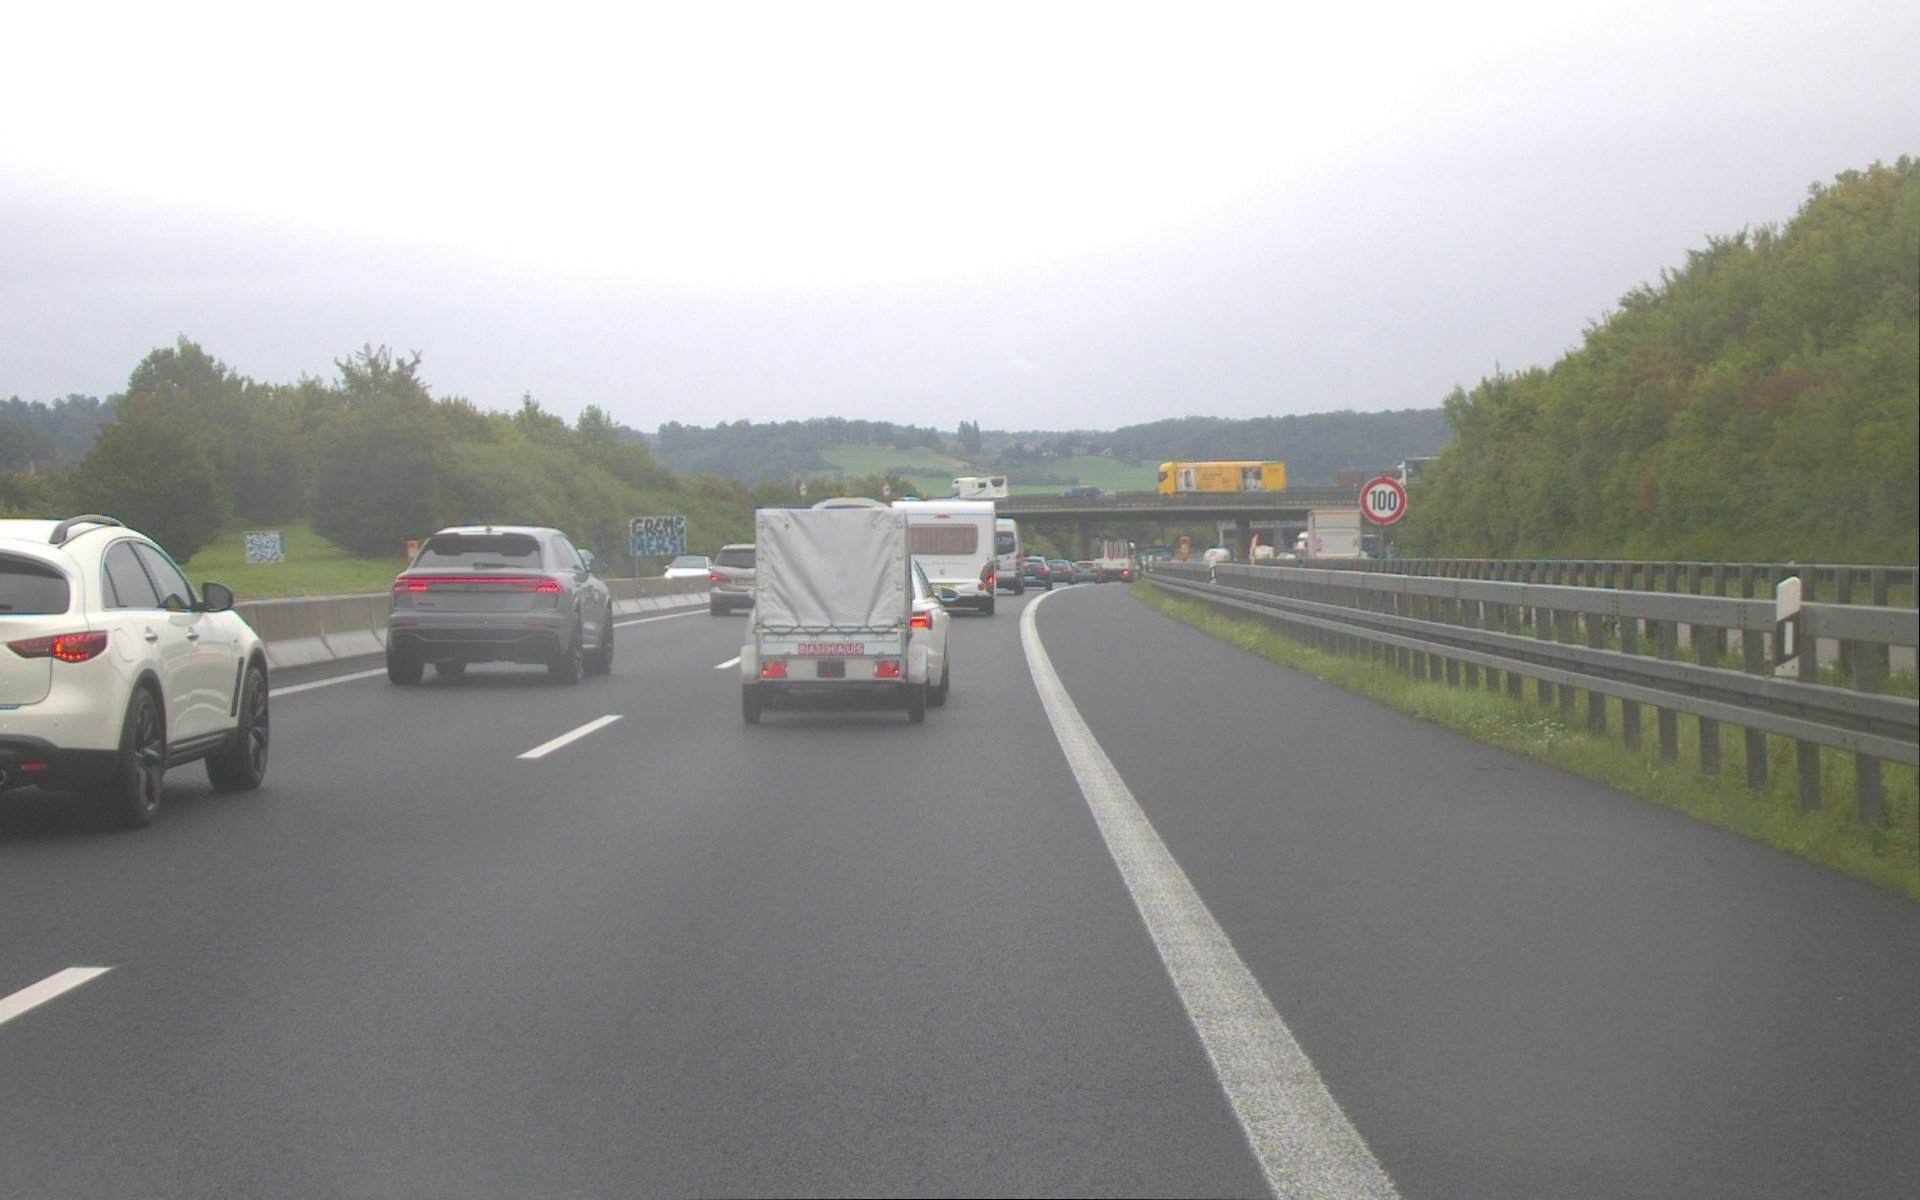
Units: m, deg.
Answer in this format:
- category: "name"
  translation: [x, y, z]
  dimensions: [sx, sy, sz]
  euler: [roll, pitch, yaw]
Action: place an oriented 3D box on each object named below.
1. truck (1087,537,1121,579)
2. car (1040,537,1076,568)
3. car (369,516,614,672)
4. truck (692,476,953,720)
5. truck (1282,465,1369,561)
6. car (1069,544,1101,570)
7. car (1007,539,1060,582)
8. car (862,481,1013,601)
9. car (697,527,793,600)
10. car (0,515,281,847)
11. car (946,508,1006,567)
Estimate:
- category: "truck"
  translation: [10.798, -3.176, 257.319]
  dimensions: [2.278, 3.071, 7.245]
  euler: [1, 1, 4]
- category: "car"
  translation: [5.692, -2.720, 198.608]
  dimensions: [1.994, 1.744, 4.000]
  euler: [1, 1, 3]
- category: "car"
  translation: [-5.113, -0.096, 38.127]
  dimensions: [2.174, 1.626, 4.501]
  euler: [0, 1, -1]
- category: "truck"
  translation: [-1.120, -0.087, 31.478]
  dimensions: [2.019, 1.979, 7.213]
  euler: [0, 1, 1]
- category: "truck"
  translation: [19.834, -4.723, 187.311]
  dimensions: [4.094, 5.086, 10.463]
  euler: [0, 1, 3]
- category: "car"
  translation: [8.495, -2.903, 233.318]
  dimensions: [1.994, 1.744, 4.000]
  euler: [1, 1, 4]
- category: "car"
  translation: [3.060, -1.644, 143.849]
  dimensions: [1.993, 1.744, 4.000]
  euler: [1, 1, -1]
- category: "car"
  translation: [-0.451, -1.356, 77.958]
  dimensions: [3.017, 2.607, 6.074]
  euler: [0, 1, 3]
- category: "car"
  translation: [-4.827, -0.836, 77.669]
  dimensions: [1.900, 1.607, 4.017]
  euler: [0, 1, 0]
- category: "car"
  translation: [-5.185, 0.367, 19.180]
  dimensions: [1.976, 1.633, 4.501]
  euler: [0, 1, -1]
- category: "car"
  translation: [0.550, -2.205, 121.615]
  dimensions: [1.993, 2.029, 4.152]
  euler: [1, 1, -1]
